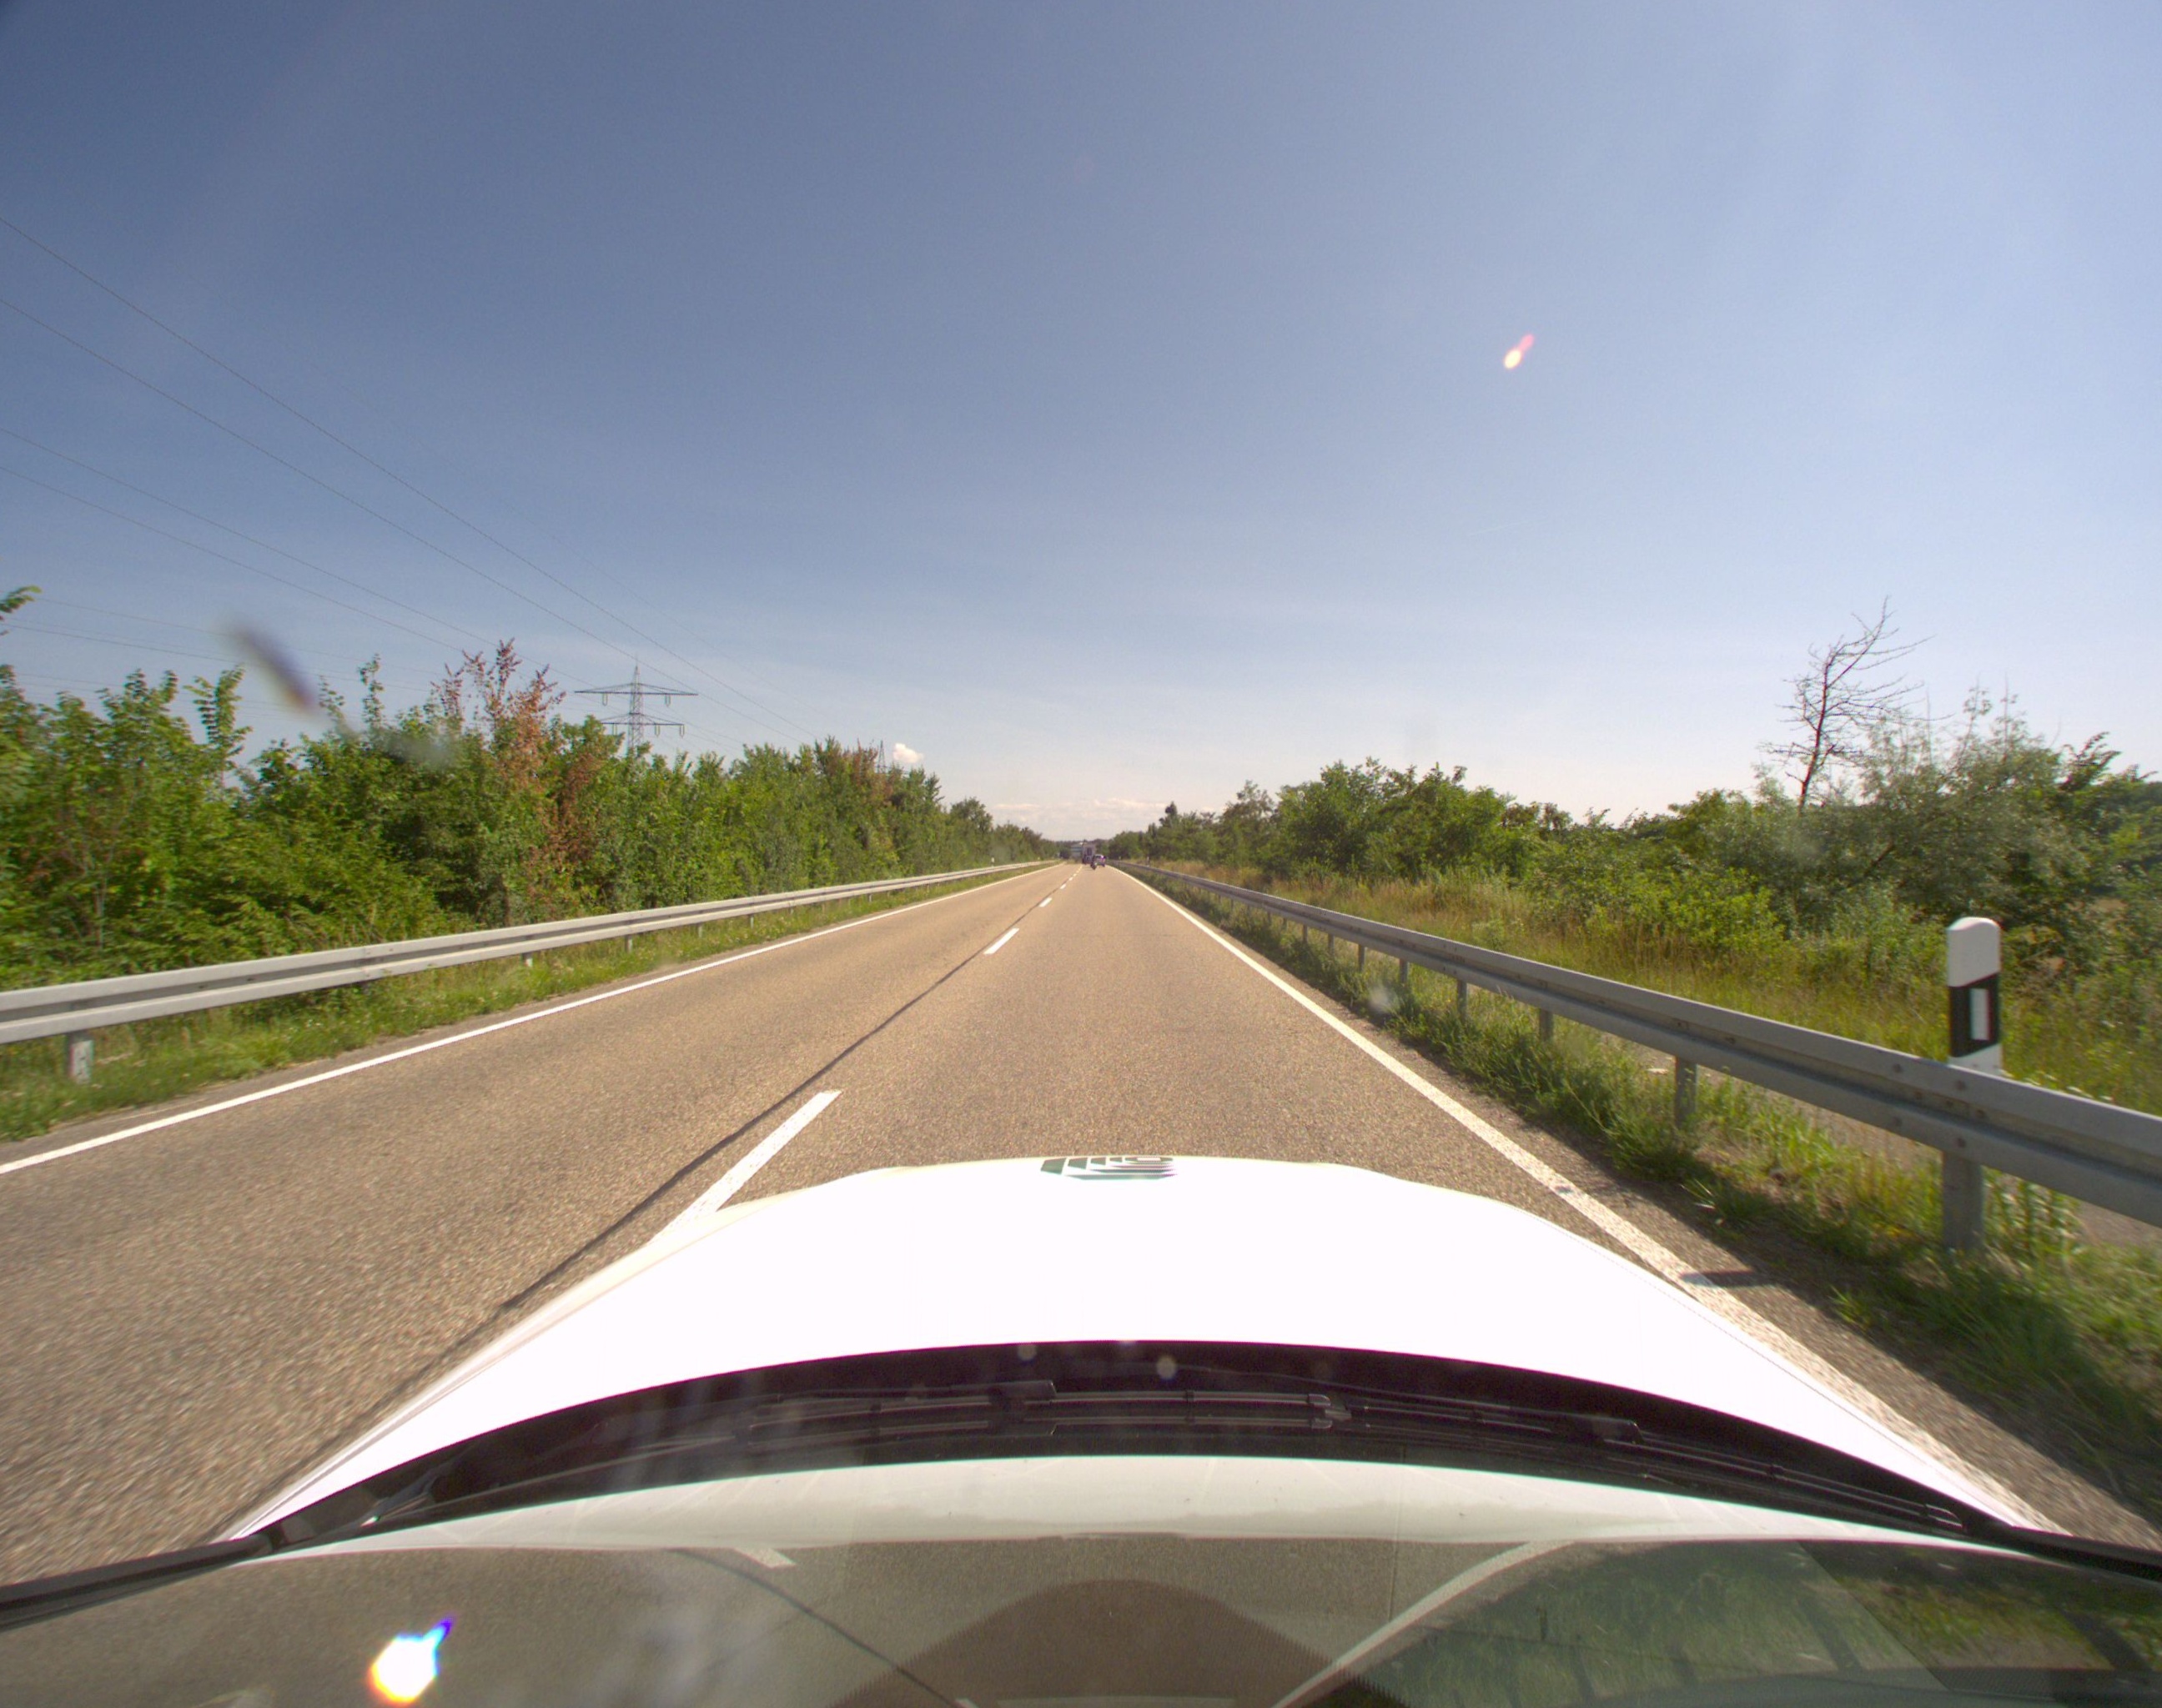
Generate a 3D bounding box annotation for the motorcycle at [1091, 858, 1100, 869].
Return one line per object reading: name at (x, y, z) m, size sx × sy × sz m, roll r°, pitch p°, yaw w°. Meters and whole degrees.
motorcycle at (1.455, 0.965, 82.071) m, size 0.777 × 0.975 × 2.364 m, roll -1°, pitch 1°, yaw 4°

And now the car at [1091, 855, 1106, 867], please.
car at (2.185, 0.851, 102.282) m, size 1.819 × 1.451 × 4.000 m, roll -1°, pitch 1°, yaw 0°

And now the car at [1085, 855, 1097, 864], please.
car at (1.678, 0.959, 135.591) m, size 1.858 × 1.420 × 4.004 m, roll 0°, pitch 1°, yaw 4°

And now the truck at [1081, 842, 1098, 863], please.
truck at (1.704, -0.387, 162.362) m, size 3.231 × 3.978 × 9.443 m, roll -1°, pitch 0°, yaw 0°

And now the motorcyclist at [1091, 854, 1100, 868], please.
motorcyclist at (1.451, 0.711, 82.088) m, size 0.777 × 1.325 × 0.814 m, roll -1°, pitch 1°, yaw 4°
